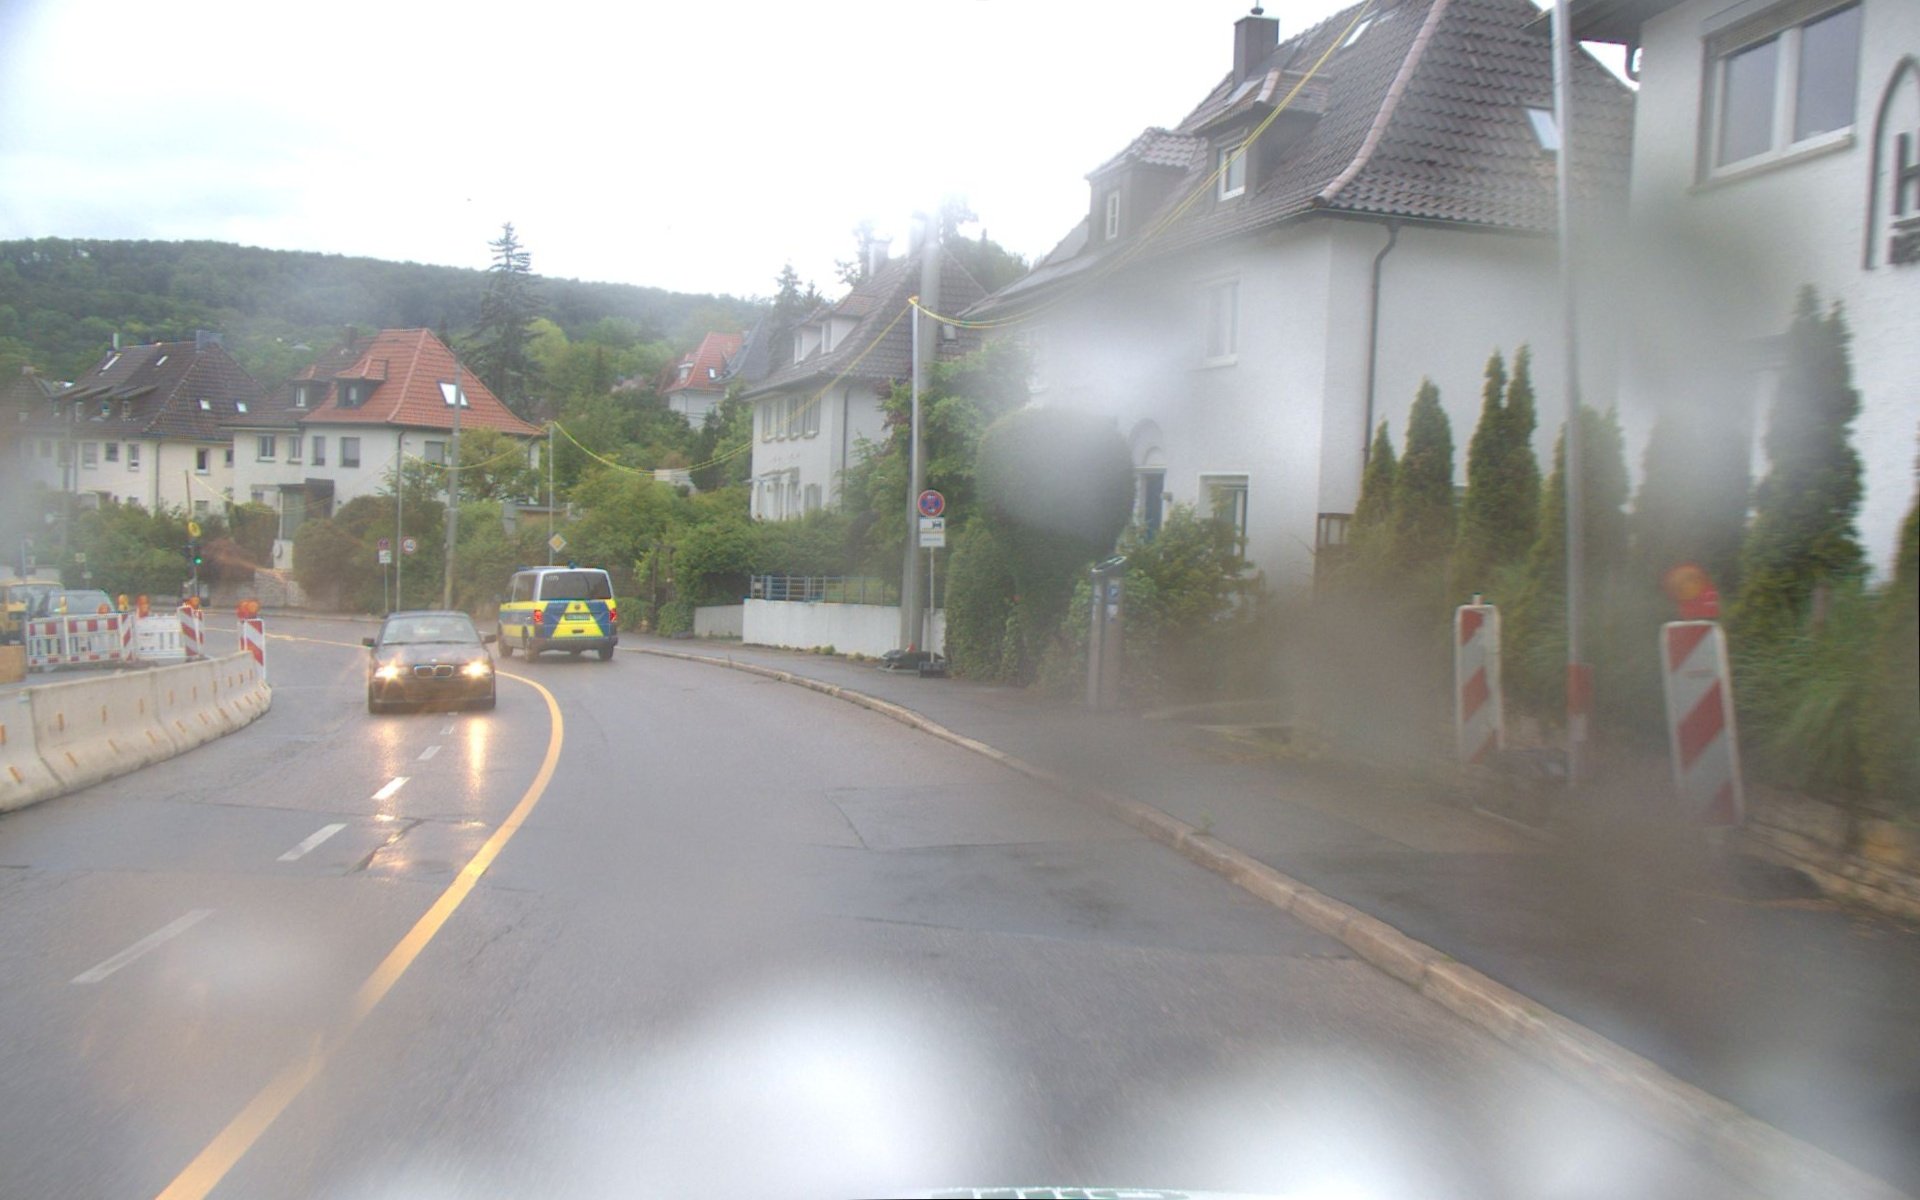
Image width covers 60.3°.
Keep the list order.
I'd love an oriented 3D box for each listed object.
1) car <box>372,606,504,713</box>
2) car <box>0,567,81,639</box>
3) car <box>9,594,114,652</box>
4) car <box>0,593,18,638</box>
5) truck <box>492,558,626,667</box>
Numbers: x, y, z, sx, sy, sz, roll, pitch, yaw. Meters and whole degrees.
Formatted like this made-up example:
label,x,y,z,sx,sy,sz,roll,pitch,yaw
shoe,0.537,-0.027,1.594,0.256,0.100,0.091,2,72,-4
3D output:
label,x,y,z,sx,sy,sz,roll,pitch,yaw
car,-7.525,0.811,23.891,1.622,1.334,4.242,-2,0,-18
car,-28.204,0.067,49.949,1.981,2.049,5.069,0,0,-39
car,-24.470,0.601,44.996,1.834,1.489,3.713,0,0,-40
car,-33.341,0.527,56.066,1.834,1.489,3.713,0,0,-40
truck,-8.884,0.195,36.393,1.969,2.048,4.698,-1,4,-25
